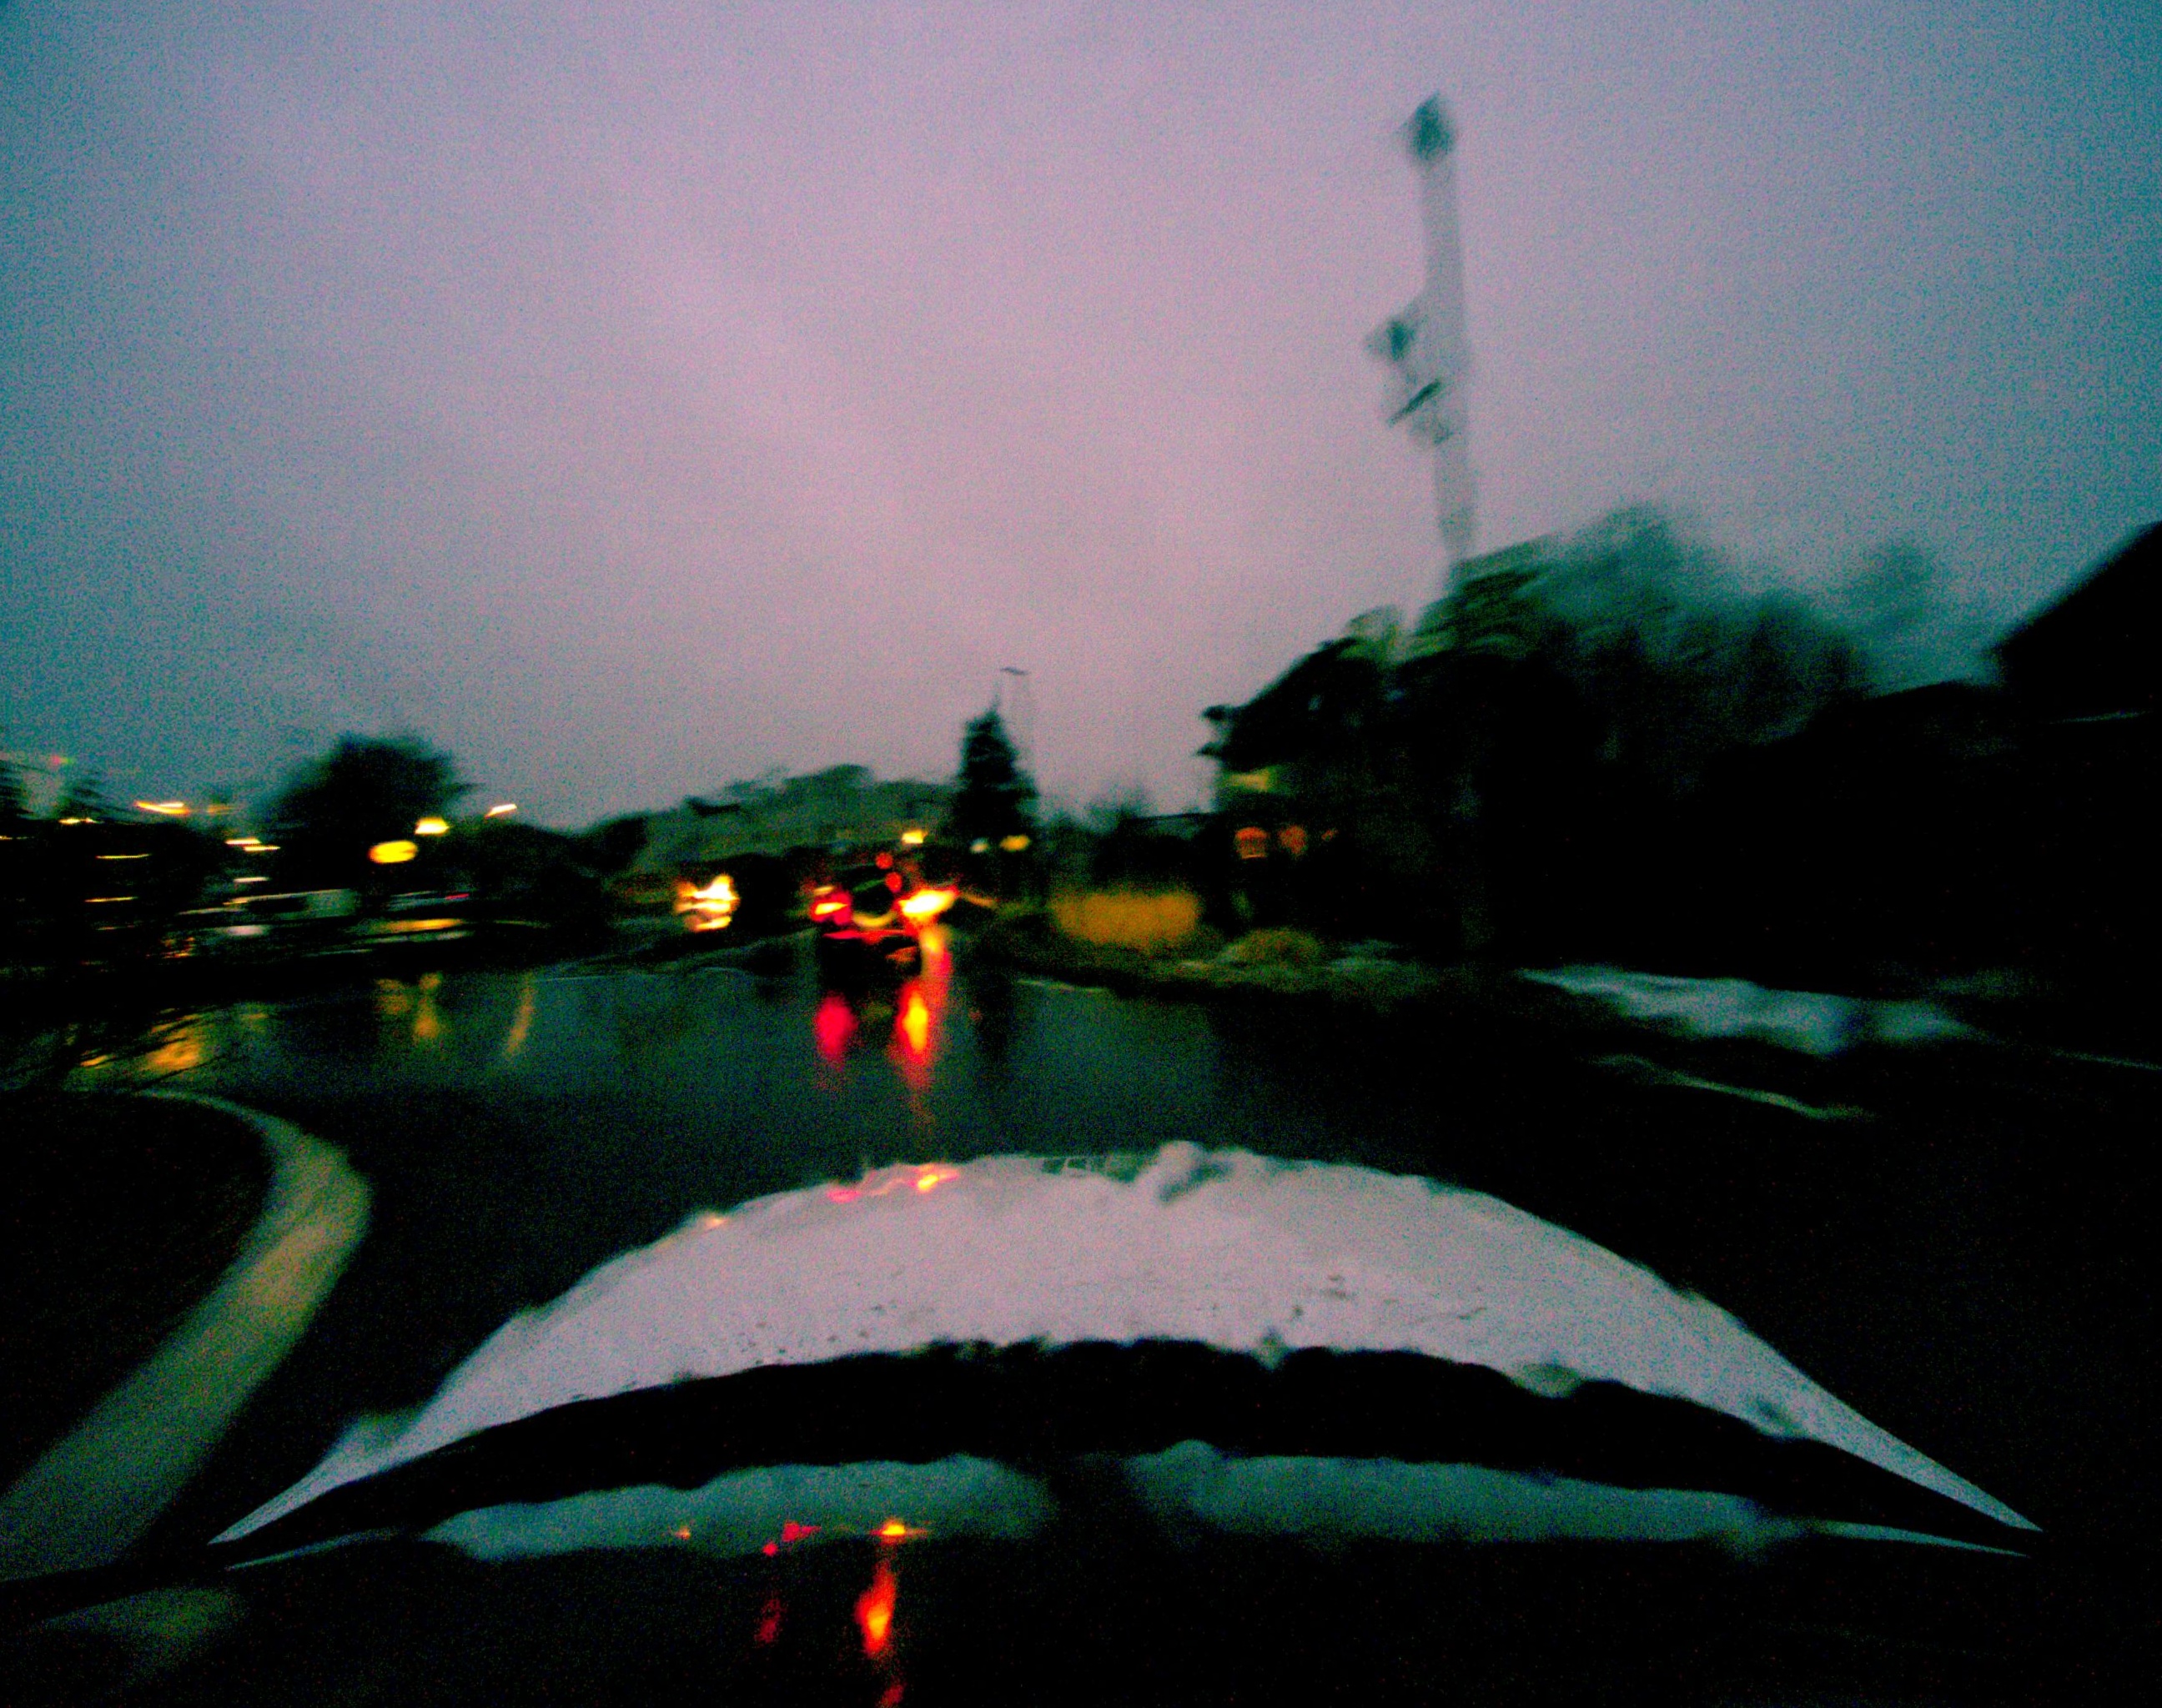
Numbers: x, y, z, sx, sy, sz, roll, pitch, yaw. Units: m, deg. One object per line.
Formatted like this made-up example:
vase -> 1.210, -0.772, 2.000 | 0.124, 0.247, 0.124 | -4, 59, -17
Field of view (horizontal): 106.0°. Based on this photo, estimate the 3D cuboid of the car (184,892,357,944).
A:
car -> -38.385, 2.950, 38.770 | 2.008, 2.134, 5.453 | -2, -2, 24

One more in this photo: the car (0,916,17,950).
car -> -52.386, 3.748, 37.461 | 1.707, 1.541, 3.873 | -2, -1, 26

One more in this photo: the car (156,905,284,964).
car -> -27.094, 2.458, 25.598 | 4.225, 1.561, 2.078 | -2, -2, 34

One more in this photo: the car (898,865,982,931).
car -> -4.463, 1.335, 26.532 | 2.159, 1.689, 4.565 | -4, 1, -4

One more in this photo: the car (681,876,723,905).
car -> -30.302, 2.887, 65.054 | 2.180, 2.060, 4.521 | -2, 0, -36

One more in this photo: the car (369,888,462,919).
car -> -44.073, 3.251, 54.042 | 1.684, 1.747, 4.383 | -2, 0, 29

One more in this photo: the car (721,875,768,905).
car -> -25.346, 2.687, 61.215 | 2.181, 2.060, 4.520 | -2, 0, -37

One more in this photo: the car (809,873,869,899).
car -> -16.743, 2.240, 56.284 | 4.513, 1.548, 1.900 | -5, -3, 43

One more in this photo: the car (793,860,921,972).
car -> -4.145, 1.021, 15.286 | 1.948, 1.718, 3.980 | -3, 0, -14

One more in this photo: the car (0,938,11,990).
car -> -30.465, 2.949, 21.628 | 3.949, 1.311, 1.853 | -2, -1, 28
